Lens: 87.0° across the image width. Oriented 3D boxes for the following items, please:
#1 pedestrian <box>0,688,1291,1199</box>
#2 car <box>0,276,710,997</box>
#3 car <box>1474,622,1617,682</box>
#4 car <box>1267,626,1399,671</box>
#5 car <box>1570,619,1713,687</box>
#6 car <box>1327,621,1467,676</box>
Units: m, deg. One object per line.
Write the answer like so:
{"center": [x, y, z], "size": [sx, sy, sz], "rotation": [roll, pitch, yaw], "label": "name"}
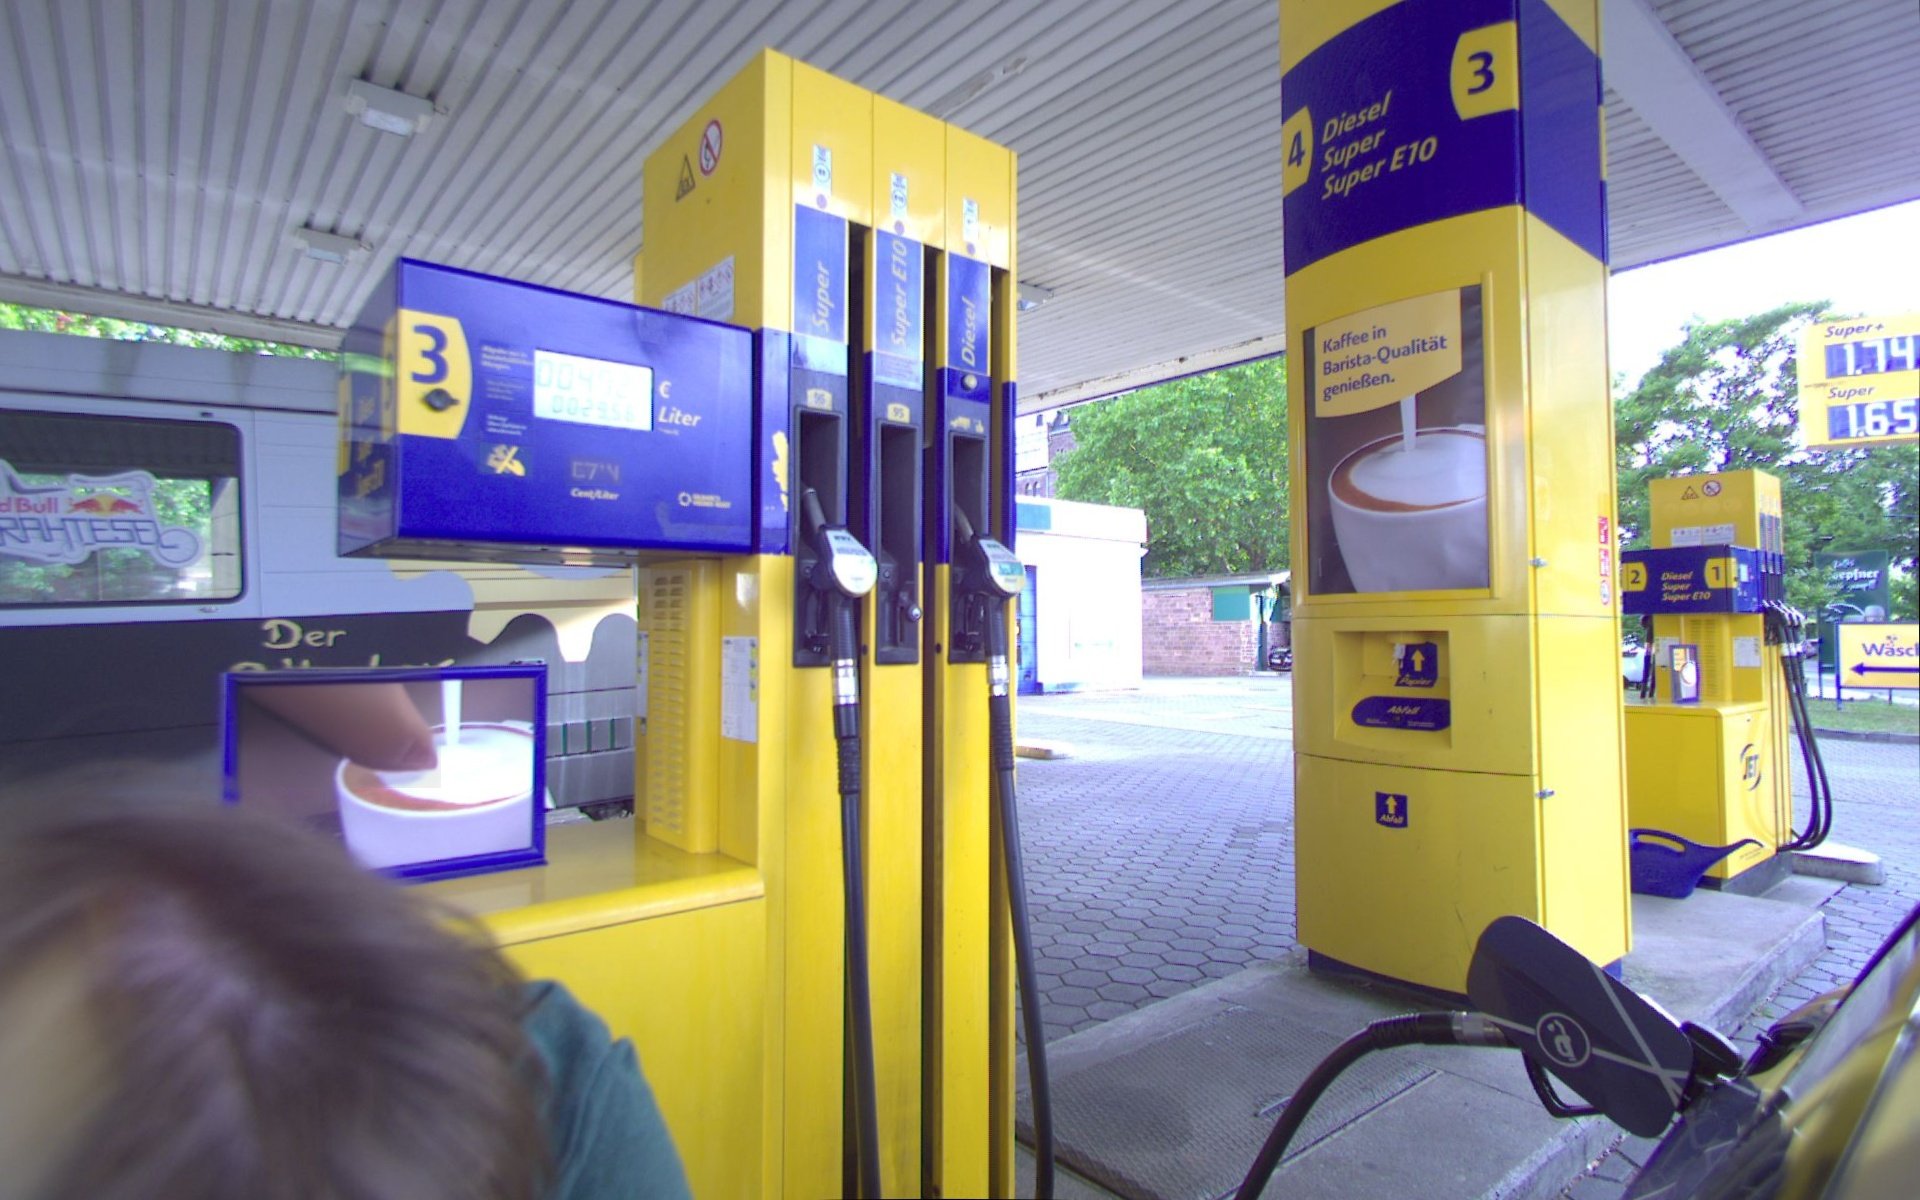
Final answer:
{"center": [-0.333, 0.745, 0.542], "size": [0.662, 1.298, 0.751], "rotation": [0, 0, -41], "label": "pedestrian"}
{"center": [-4.108, 0.155, 4.889], "size": [5.197, 2.726, 2.258], "rotation": [1, -2, -39], "label": "car"}
{"center": [17.846, 1.585, 30.798], "size": [4.303, 1.622, 1.776], "rotation": [4, -4, -28], "label": "car"}
{"center": [12.689, 1.648, 34.425], "size": [4.303, 1.393, 1.777], "rotation": [2, -1, -28], "label": "car"}
{"center": [18.356, 1.443, 27.199], "size": [4.308, 1.622, 1.774], "rotation": [4, -4, -35], "label": "car"}
{"center": [13.886, 1.526, 32.133], "size": [4.303, 1.622, 1.777], "rotation": [2, -1, -28], "label": "car"}
